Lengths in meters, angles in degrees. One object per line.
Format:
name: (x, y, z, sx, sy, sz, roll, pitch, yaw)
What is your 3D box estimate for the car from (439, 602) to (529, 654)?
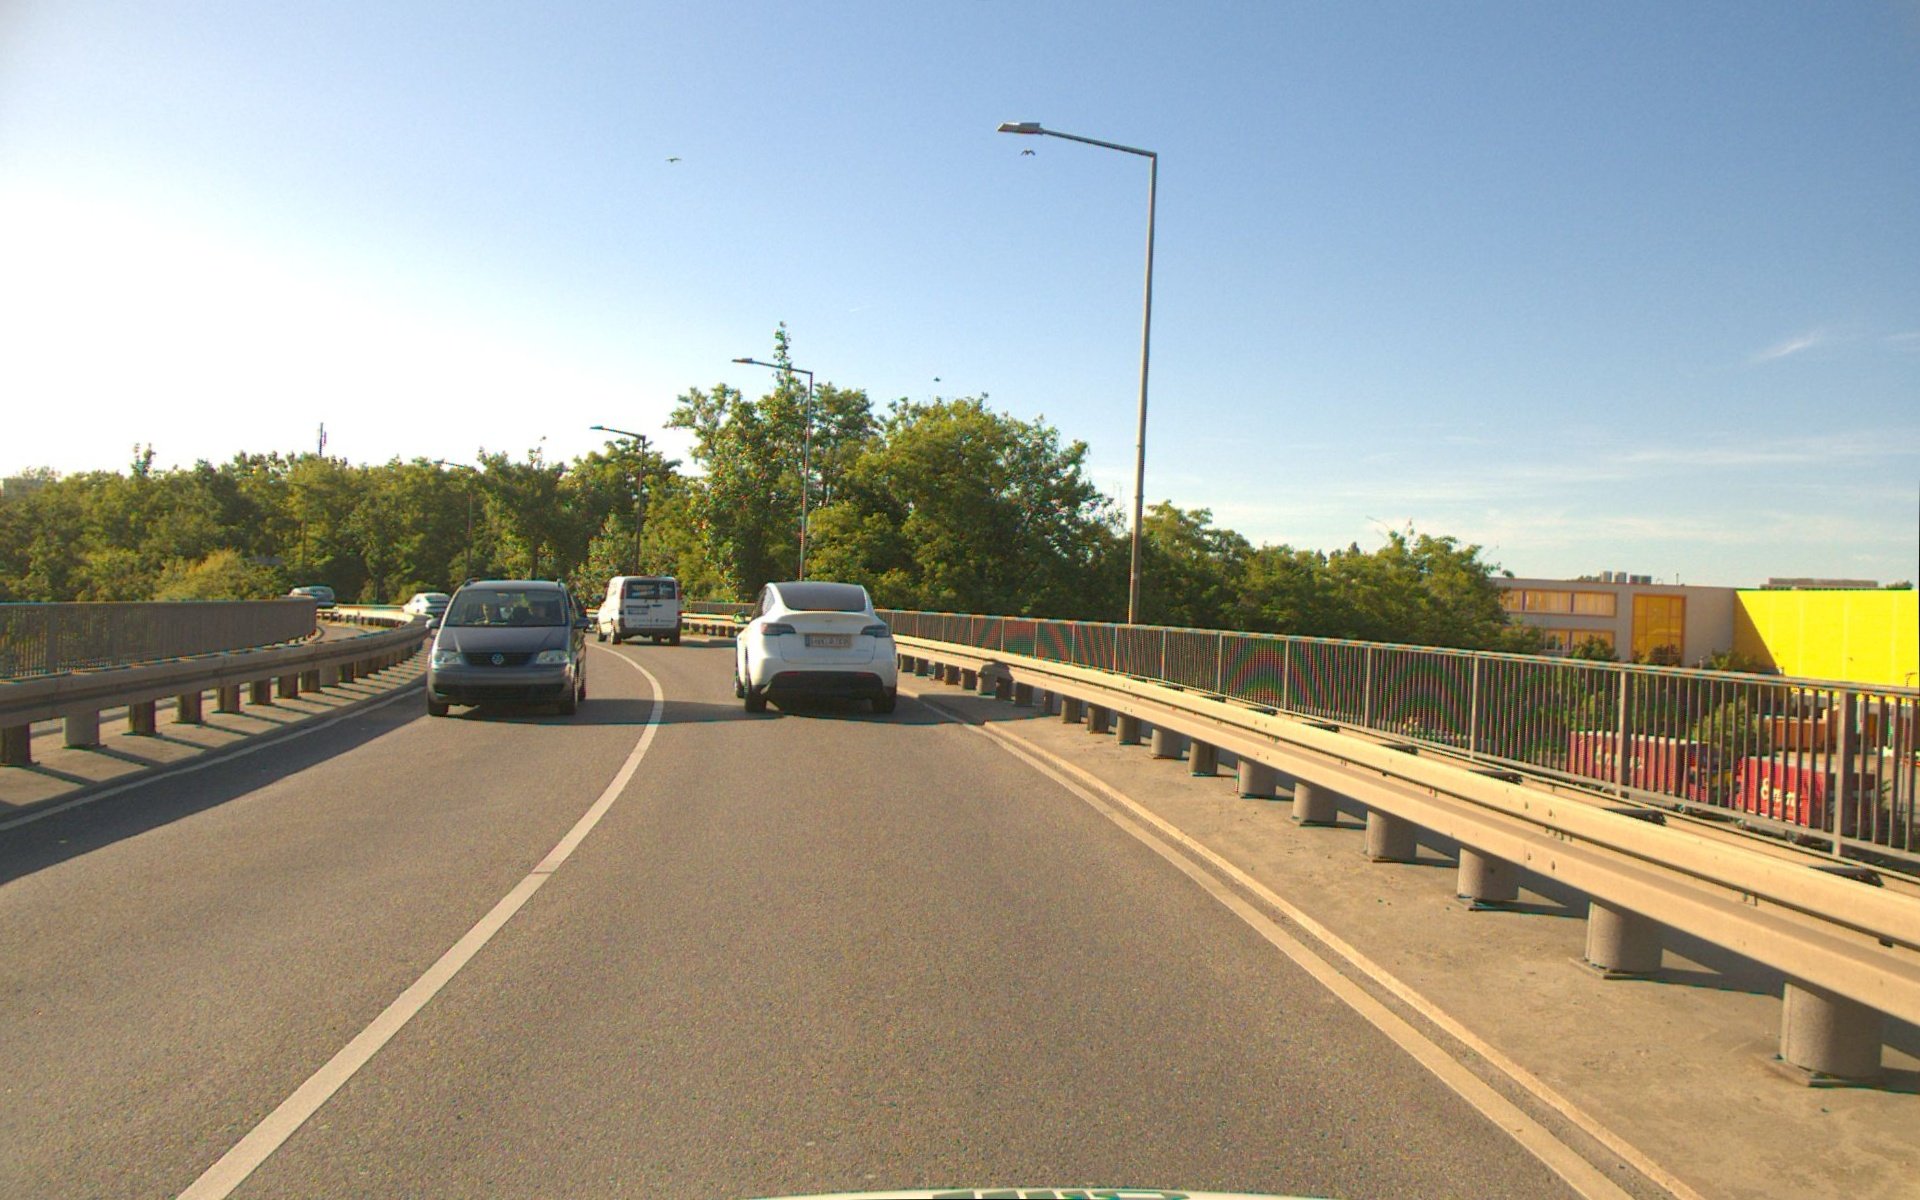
car: (-15.232, 0.856, 52.877, 1.819, 1.545, 3.728, 0, 0, -32)

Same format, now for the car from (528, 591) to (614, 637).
car: (-14.688, 0.534, 62.354, 1.951, 1.666, 3.954, -1, 0, -33)

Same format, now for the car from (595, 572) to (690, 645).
car: (-9.102, 0.209, 47.213, 1.976, 1.974, 4.441, 0, 0, -20)

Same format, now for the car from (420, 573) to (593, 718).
car: (-5.665, 0.509, 21.086, 1.816, 1.651, 4.091, 0, 0, -11)

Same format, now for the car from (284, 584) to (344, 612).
car: (-37.986, -0.140, 97.273, 3.825, 1.583, 1.830, 1, 0, 43)

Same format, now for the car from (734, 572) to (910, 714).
car: (-1.919, 0.498, 21.858, 1.949, 1.666, 4.053, -1, 0, -10)

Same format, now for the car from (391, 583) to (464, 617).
car: (-26.088, -0.023, 81.038, 3.848, 1.612, 1.852, 1, 0, 45)
